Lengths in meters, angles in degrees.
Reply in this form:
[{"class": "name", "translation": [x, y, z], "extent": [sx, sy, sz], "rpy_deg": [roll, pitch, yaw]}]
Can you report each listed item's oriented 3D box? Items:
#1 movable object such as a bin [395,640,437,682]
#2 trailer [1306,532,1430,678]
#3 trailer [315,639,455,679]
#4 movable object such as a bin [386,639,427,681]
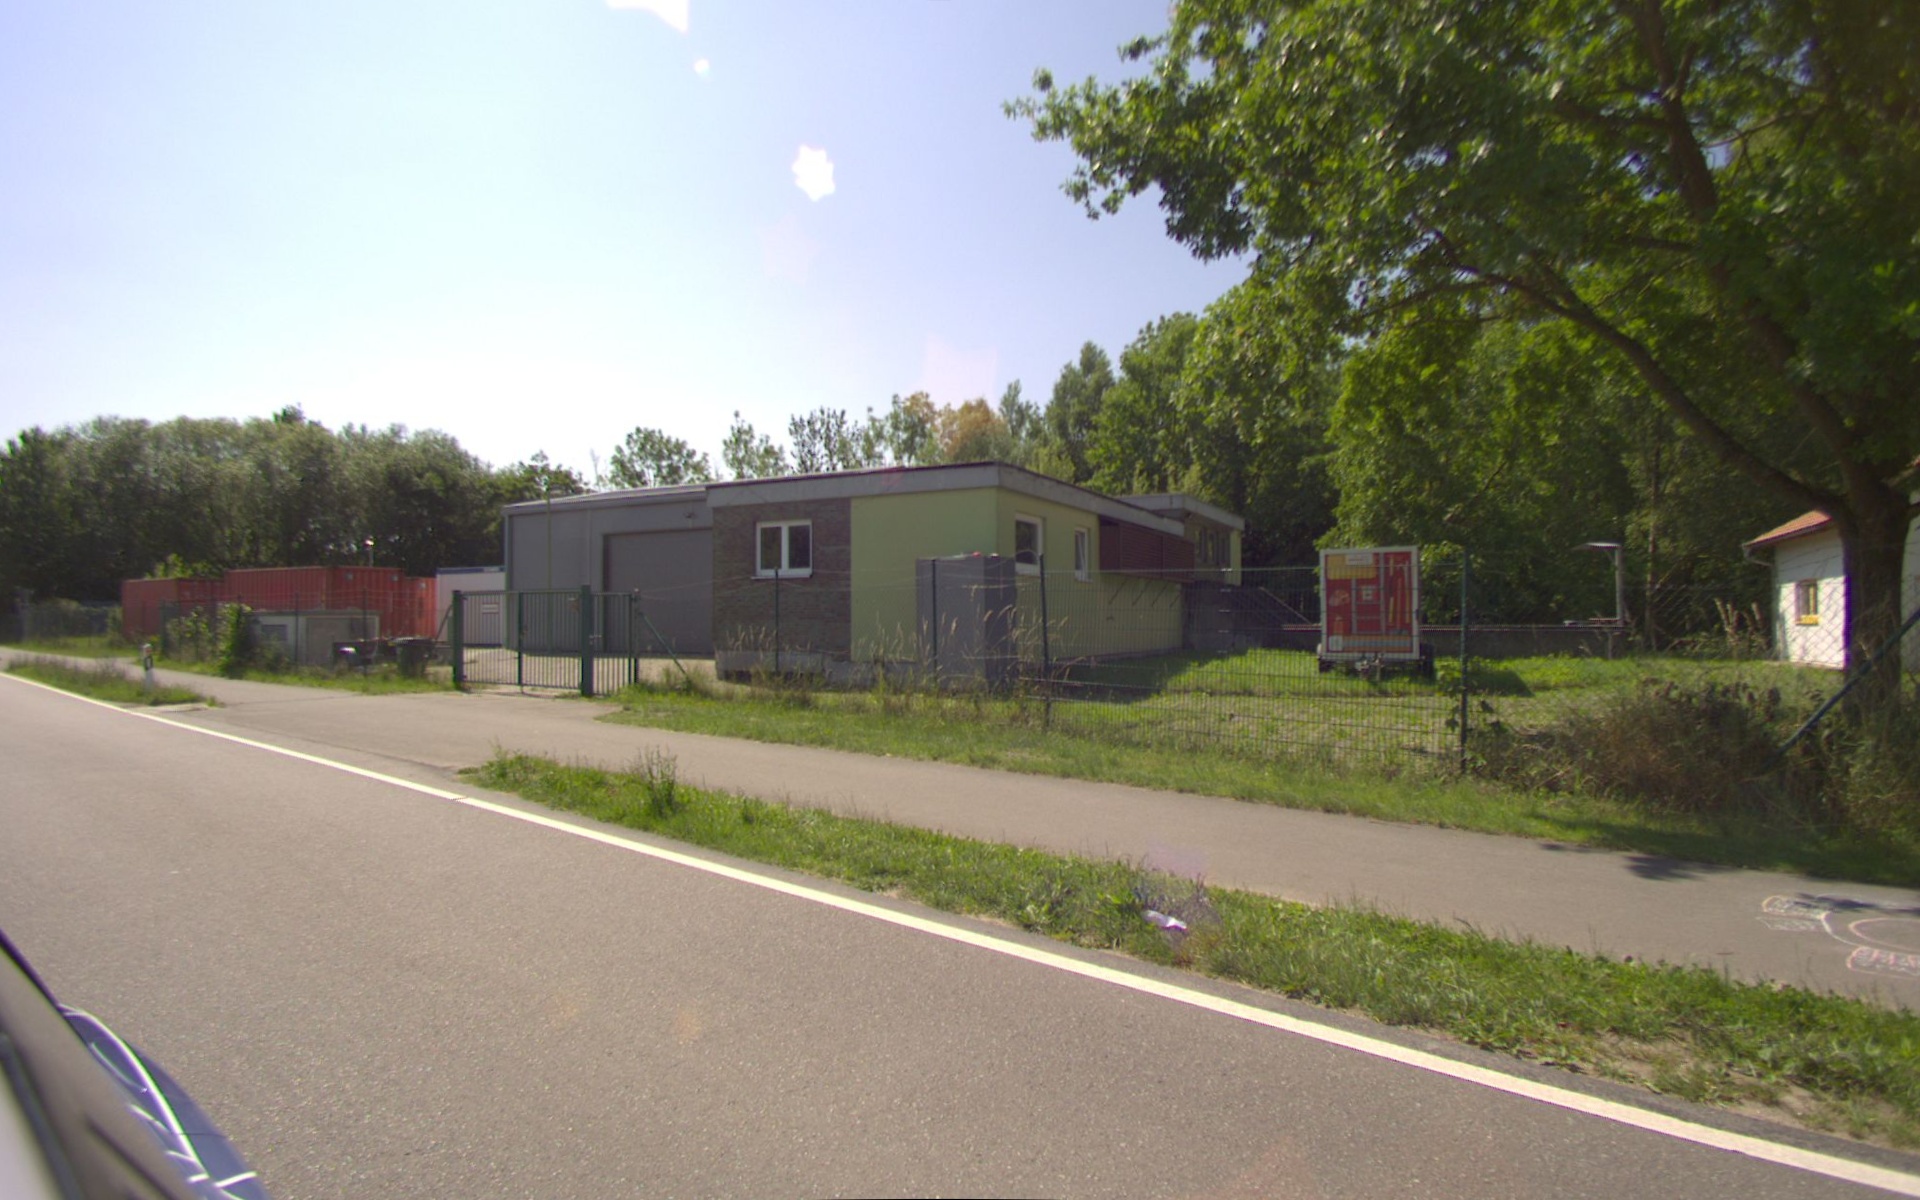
[{"class": "movable object such as a bin", "translation": [-11.504, 1.282, 21.390], "extent": [0.631, 0.861, 0.654], "rpy_deg": [2, -2, -44]}, {"class": "trailer", "translation": [7.464, 0.144, 18.299], "extent": [1.818, 2.295, 4.201], "rpy_deg": [-1, -2, 25]}, {"class": "trailer", "translation": [-13.746, 1.372, 24.159], "extent": [3.350, 0.873, 1.617], "rpy_deg": [-1, -2, 35]}, {"class": "movable object such as a bin", "translation": [-11.968, 1.284, 21.891], "extent": [0.631, 0.882, 0.654], "rpy_deg": [2, -2, -44]}]
